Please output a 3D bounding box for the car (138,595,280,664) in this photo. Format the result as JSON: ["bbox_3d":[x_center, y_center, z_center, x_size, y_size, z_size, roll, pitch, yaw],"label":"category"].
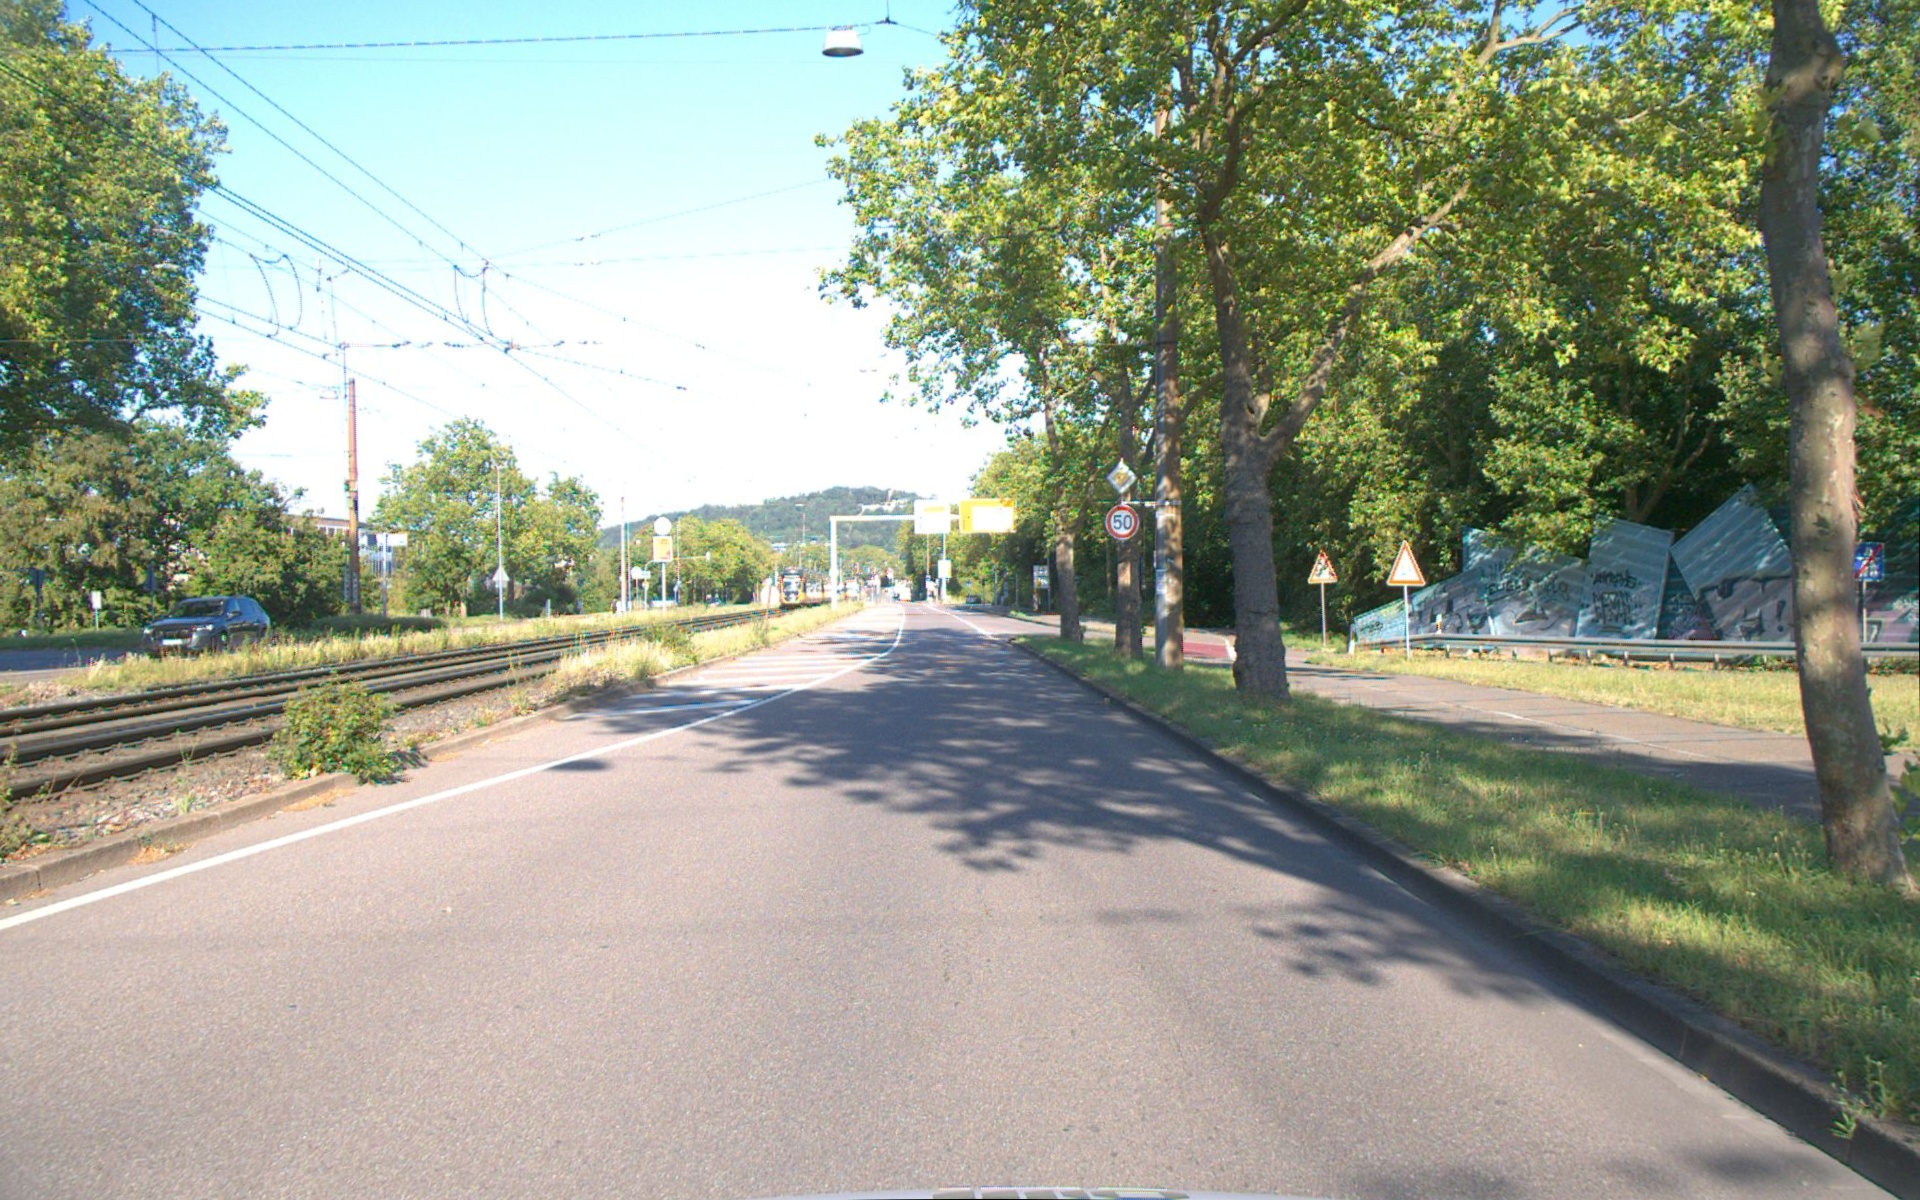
[{"bbox_3d":[-20.572,0.757,45.536,1.861,1.724,4.937,-2,0,-4],"label":"car"}]

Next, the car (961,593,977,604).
[{"bbox_3d":[1.329,-0.269,239.838,2.042,1.593,3.957,0,0,4],"label":"car"}]

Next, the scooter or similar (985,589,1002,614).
[{"bbox_3d":[3.780,0.173,185.818,1.647,2.763,4.867,0,0,-2],"label":"scooter or similar"}]

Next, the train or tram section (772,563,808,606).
[{"bbox_3d":[-16.517,-1.438,161.230,2.748,3.971,12.325,0,0,-3],"label":"train or tram section"}]
